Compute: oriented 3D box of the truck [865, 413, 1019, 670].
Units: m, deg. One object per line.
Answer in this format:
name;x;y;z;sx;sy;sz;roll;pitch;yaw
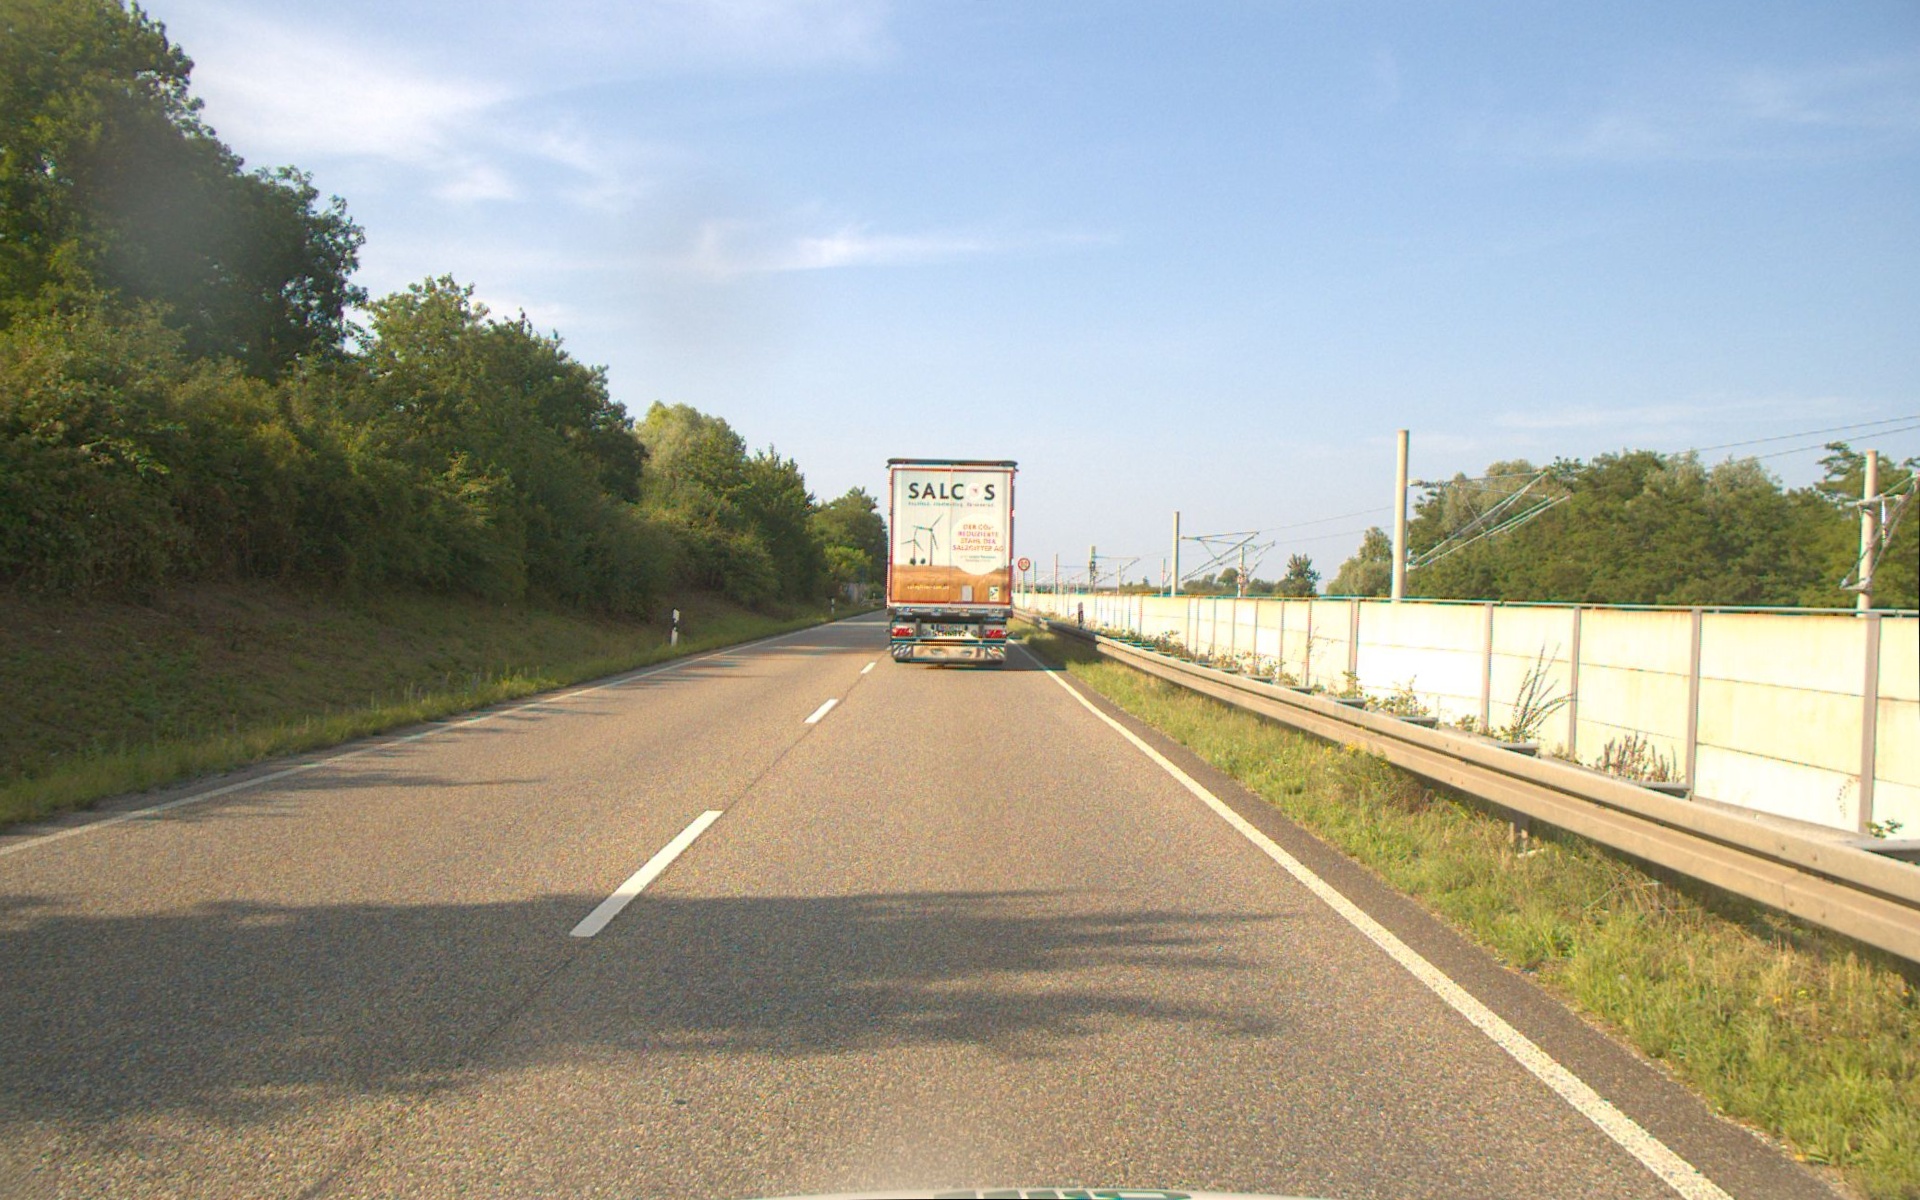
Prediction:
truck;-0.495;-1.200;38.415;2.972;5.006;11.681;1;0;-2
